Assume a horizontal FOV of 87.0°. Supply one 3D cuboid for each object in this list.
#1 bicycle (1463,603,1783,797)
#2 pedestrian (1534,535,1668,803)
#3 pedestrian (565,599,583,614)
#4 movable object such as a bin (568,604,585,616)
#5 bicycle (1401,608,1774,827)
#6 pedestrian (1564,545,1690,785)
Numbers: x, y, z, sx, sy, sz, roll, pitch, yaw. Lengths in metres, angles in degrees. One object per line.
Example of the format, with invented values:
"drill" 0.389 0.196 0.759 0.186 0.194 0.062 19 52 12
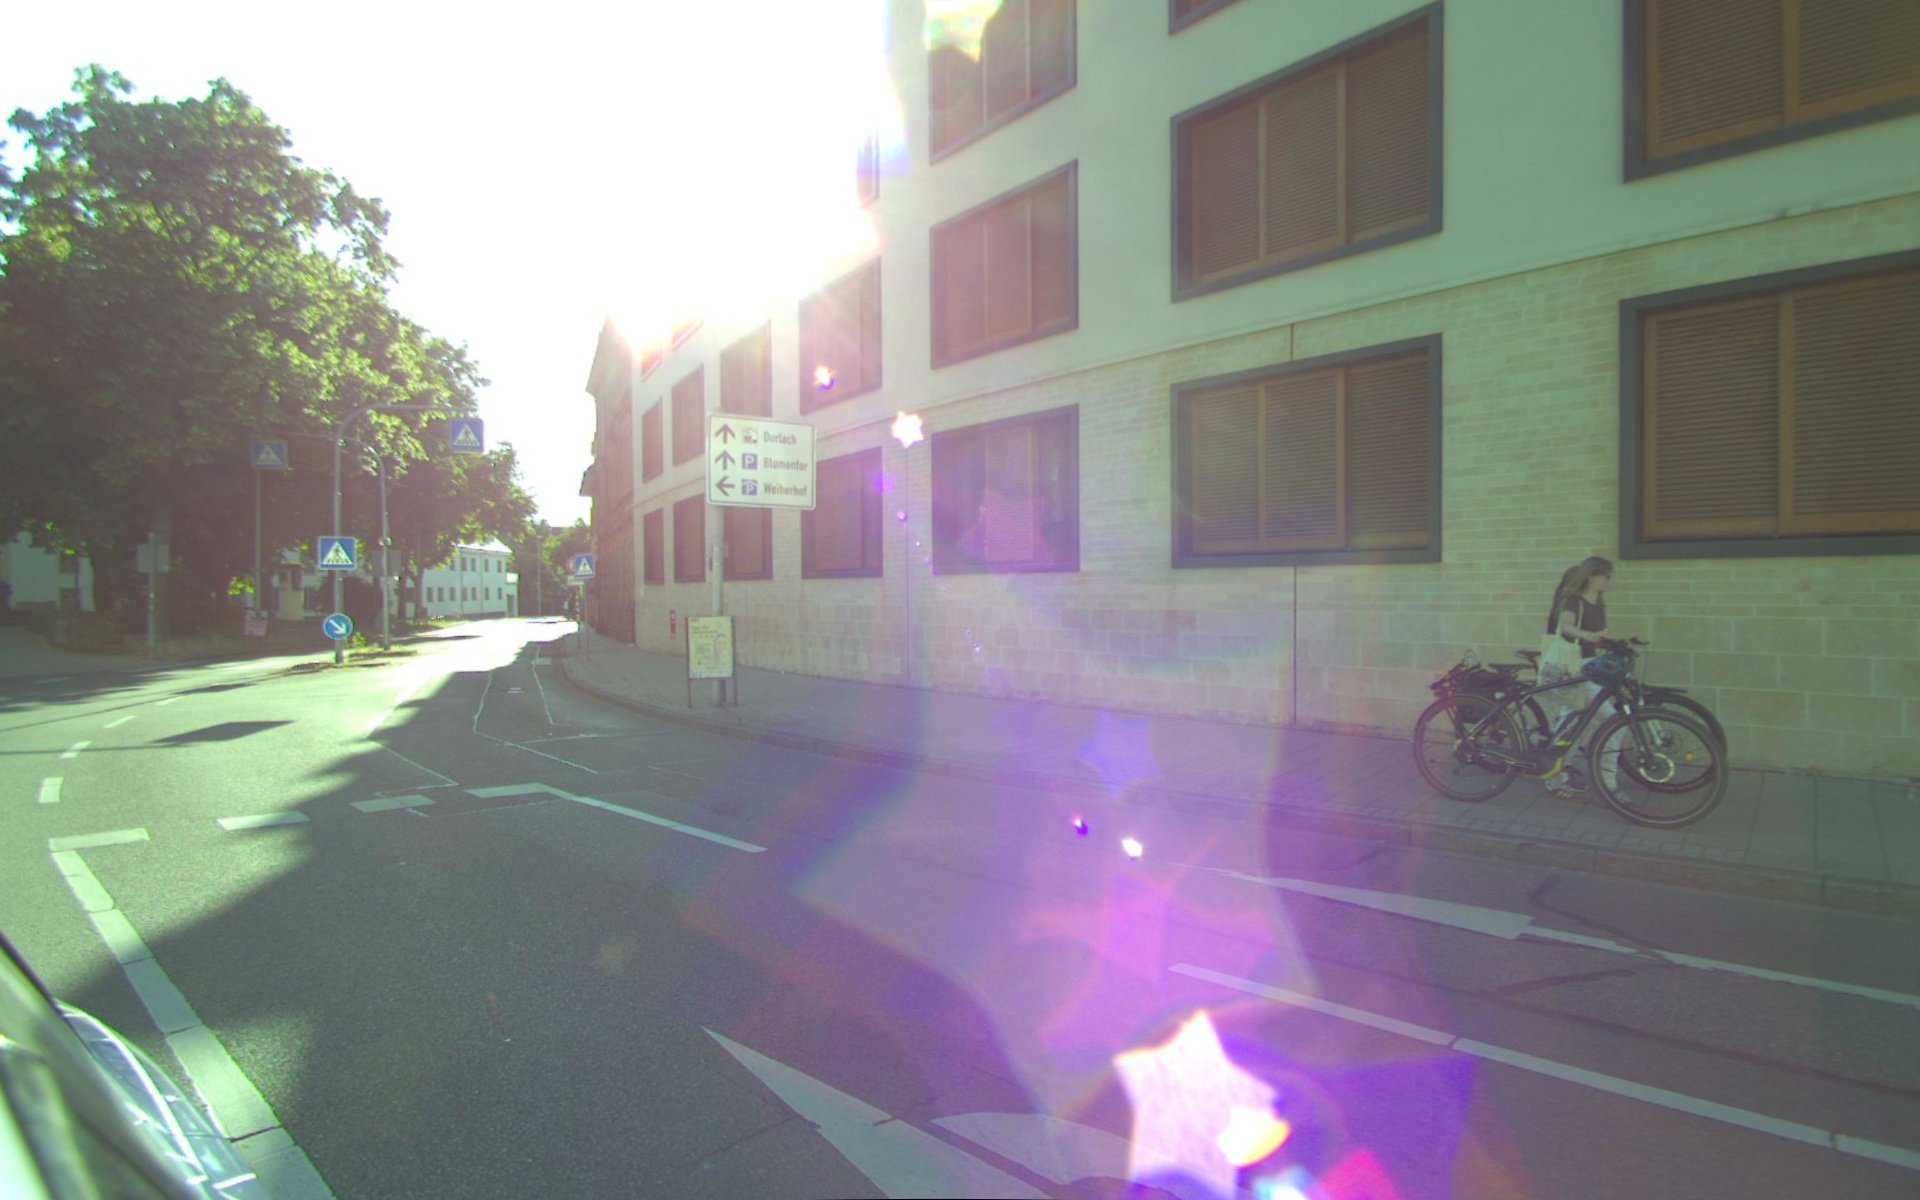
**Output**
"bicycle" 4.536 0.619 7.071 0.371 1.176 1.841 -3 1 -37
"pedestrian" 4.207 0.421 6.650 0.468 1.659 0.603 -4 2 -40
"pedestrian" -33.085 0.561 86.705 1.147 1.238 0.837 -2 2 13
"movable object such as a bin" -32.828 0.822 86.647 1.028 0.935 0.837 -2 1 13
"bicycle" 3.904 0.661 6.476 0.435 1.187 1.970 -3 1 -40
"pedestrian" 4.619 0.418 7.014 0.468 1.576 0.603 -2 1 -40
